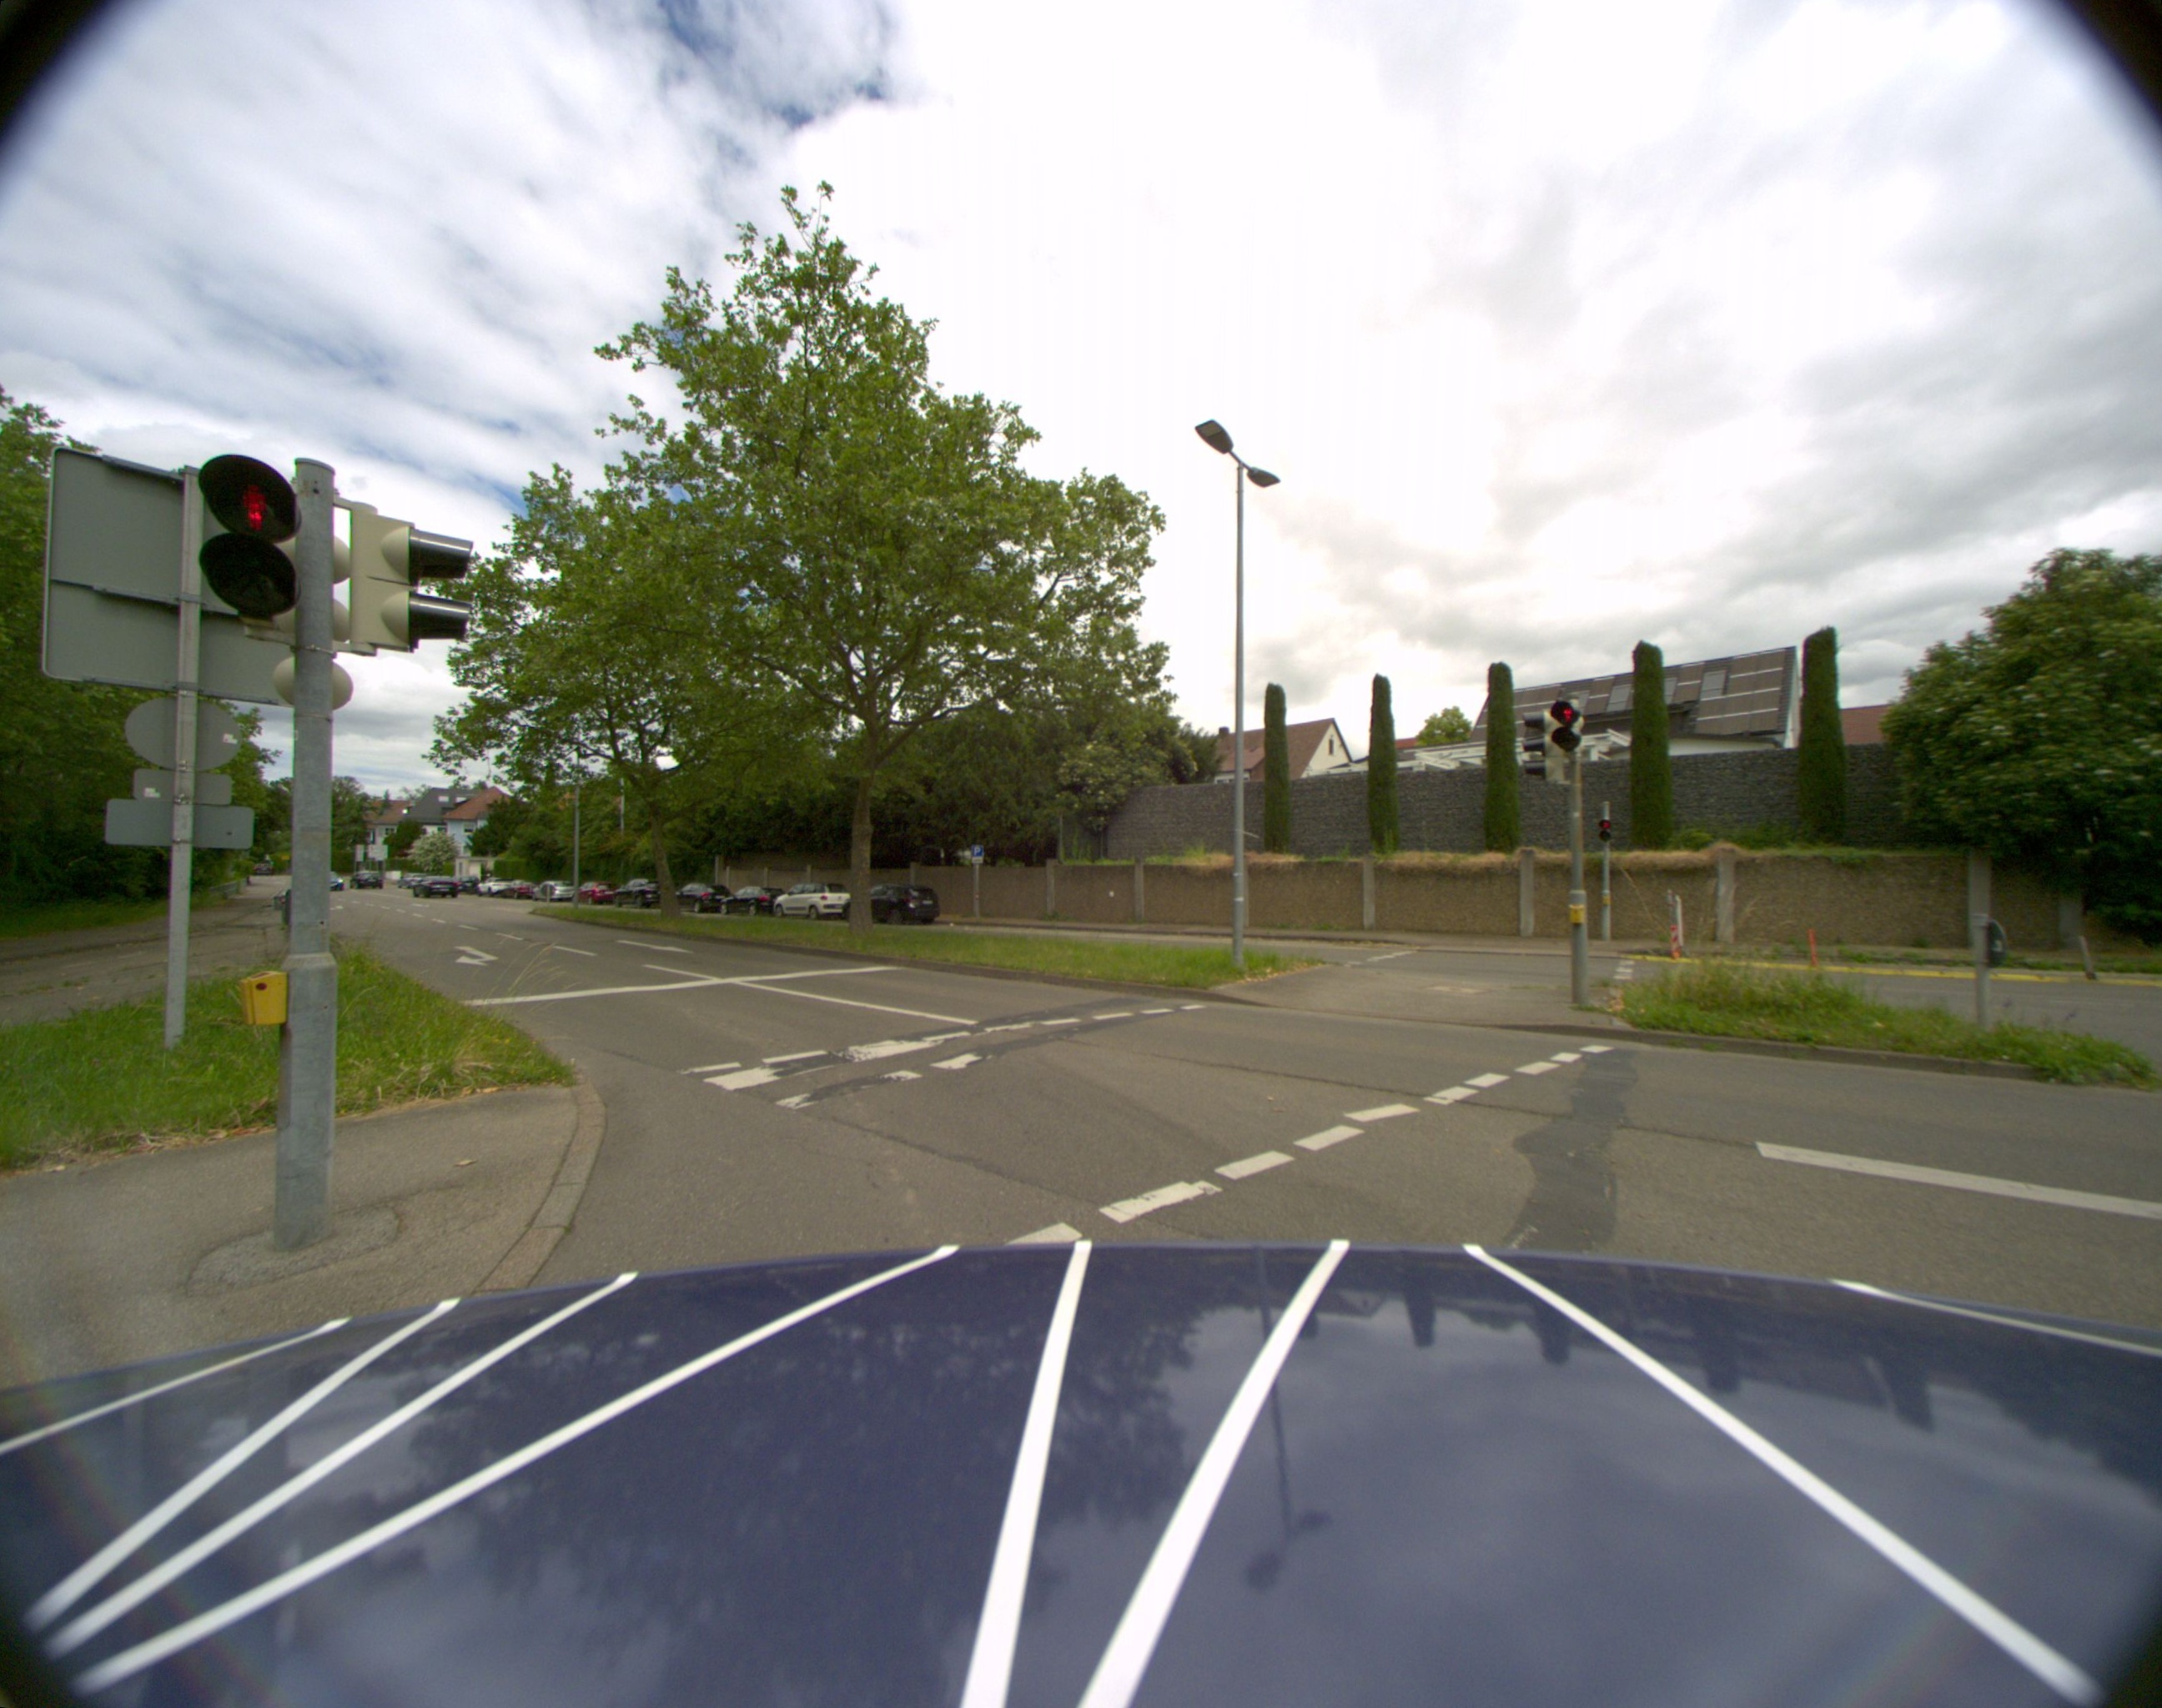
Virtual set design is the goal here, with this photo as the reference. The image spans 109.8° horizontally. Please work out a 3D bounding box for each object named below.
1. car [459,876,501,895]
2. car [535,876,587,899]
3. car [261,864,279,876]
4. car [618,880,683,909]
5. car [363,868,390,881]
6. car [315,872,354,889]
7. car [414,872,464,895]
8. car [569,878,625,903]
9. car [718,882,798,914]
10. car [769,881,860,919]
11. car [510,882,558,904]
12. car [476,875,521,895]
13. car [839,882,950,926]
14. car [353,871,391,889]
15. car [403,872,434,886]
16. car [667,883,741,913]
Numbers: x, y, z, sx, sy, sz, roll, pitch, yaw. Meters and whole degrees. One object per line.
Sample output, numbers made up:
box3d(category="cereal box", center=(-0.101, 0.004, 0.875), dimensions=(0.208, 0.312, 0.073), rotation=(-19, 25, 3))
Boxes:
box3d(category="car", center=(-48.820, 2.537, 61.735), dimensions=(3.821, 1.495, 1.691), rotation=(-1, -3, 37))
box3d(category="car", center=(-35.417, 2.254, 51.726), dimensions=(3.821, 1.495, 1.691), rotation=(-1, -3, 37))
box3d(category="car", center=(-113.637, 2.246, 106.490), dimensions=(3.989, 1.536, 1.676), rotation=(-1, -2, 43))
box3d(category="car", center=(-24.525, 2.263, 43.231), dimensions=(4.027, 1.594, 1.801), rotation=(-1, -2, 38))
box3d(category="car", center=(-76.753, 2.241, 82.776), dimensions=(3.821, 1.321, 1.691), rotation=(-1, -1, 41))
box3d(category="car", center=(-65.224, 2.333, 66.375), dimensions=(4.136, 1.419, 1.802), rotation=(-1, -4, 38))
box3d(category="car", center=(-47.310, 2.181, 55.937), dimensions=(4.574, 1.605, 1.802), rotation=(-1, -3, 37))
box3d(category="car", center=(-30.479, 2.281, 47.799), dimensions=(3.821, 1.495, 1.691), rotation=(-1, -3, 37))
box3d(category="car", center=(-15.643, 2.101, 36.757), dimensions=(4.027, 1.495, 1.802), rotation=(-1, -4, 38))
box3d(category="car", center=(-11.946, 2.025, 33.951), dimensions=(4.206, 1.605, 1.802), rotation=(-1, -4, 38))
box3d(category="car", center=(-40.055, 2.840, 55.609), dimensions=(3.821, 1.495, 1.691), rotation=(-1, -3, 37))
box3d(category="car", center=(-45.145, 2.400, 58.873), dimensions=(3.821, 1.495, 1.691), rotation=(-1, -3, 37))
box3d(category="car", center=(-7.518, 1.963, 30.501), dimensions=(4.449, 1.605, 1.802), rotation=(-1, -3, 34))
box3d(category="car", center=(-65.308, 2.411, 70.000), dimensions=(3.902, 1.605, 1.849), rotation=(-1, -3, 37))
box3d(category="car", center=(-63.143, 2.385, 72.391), dimensions=(3.821, 1.321, 1.691), rotation=(-1, -1, 41))
box3d(category="car", center=(-19.864, 2.303, 39.960), dimensions=(4.027, 1.495, 1.802), rotation=(-1, -3, 37))
